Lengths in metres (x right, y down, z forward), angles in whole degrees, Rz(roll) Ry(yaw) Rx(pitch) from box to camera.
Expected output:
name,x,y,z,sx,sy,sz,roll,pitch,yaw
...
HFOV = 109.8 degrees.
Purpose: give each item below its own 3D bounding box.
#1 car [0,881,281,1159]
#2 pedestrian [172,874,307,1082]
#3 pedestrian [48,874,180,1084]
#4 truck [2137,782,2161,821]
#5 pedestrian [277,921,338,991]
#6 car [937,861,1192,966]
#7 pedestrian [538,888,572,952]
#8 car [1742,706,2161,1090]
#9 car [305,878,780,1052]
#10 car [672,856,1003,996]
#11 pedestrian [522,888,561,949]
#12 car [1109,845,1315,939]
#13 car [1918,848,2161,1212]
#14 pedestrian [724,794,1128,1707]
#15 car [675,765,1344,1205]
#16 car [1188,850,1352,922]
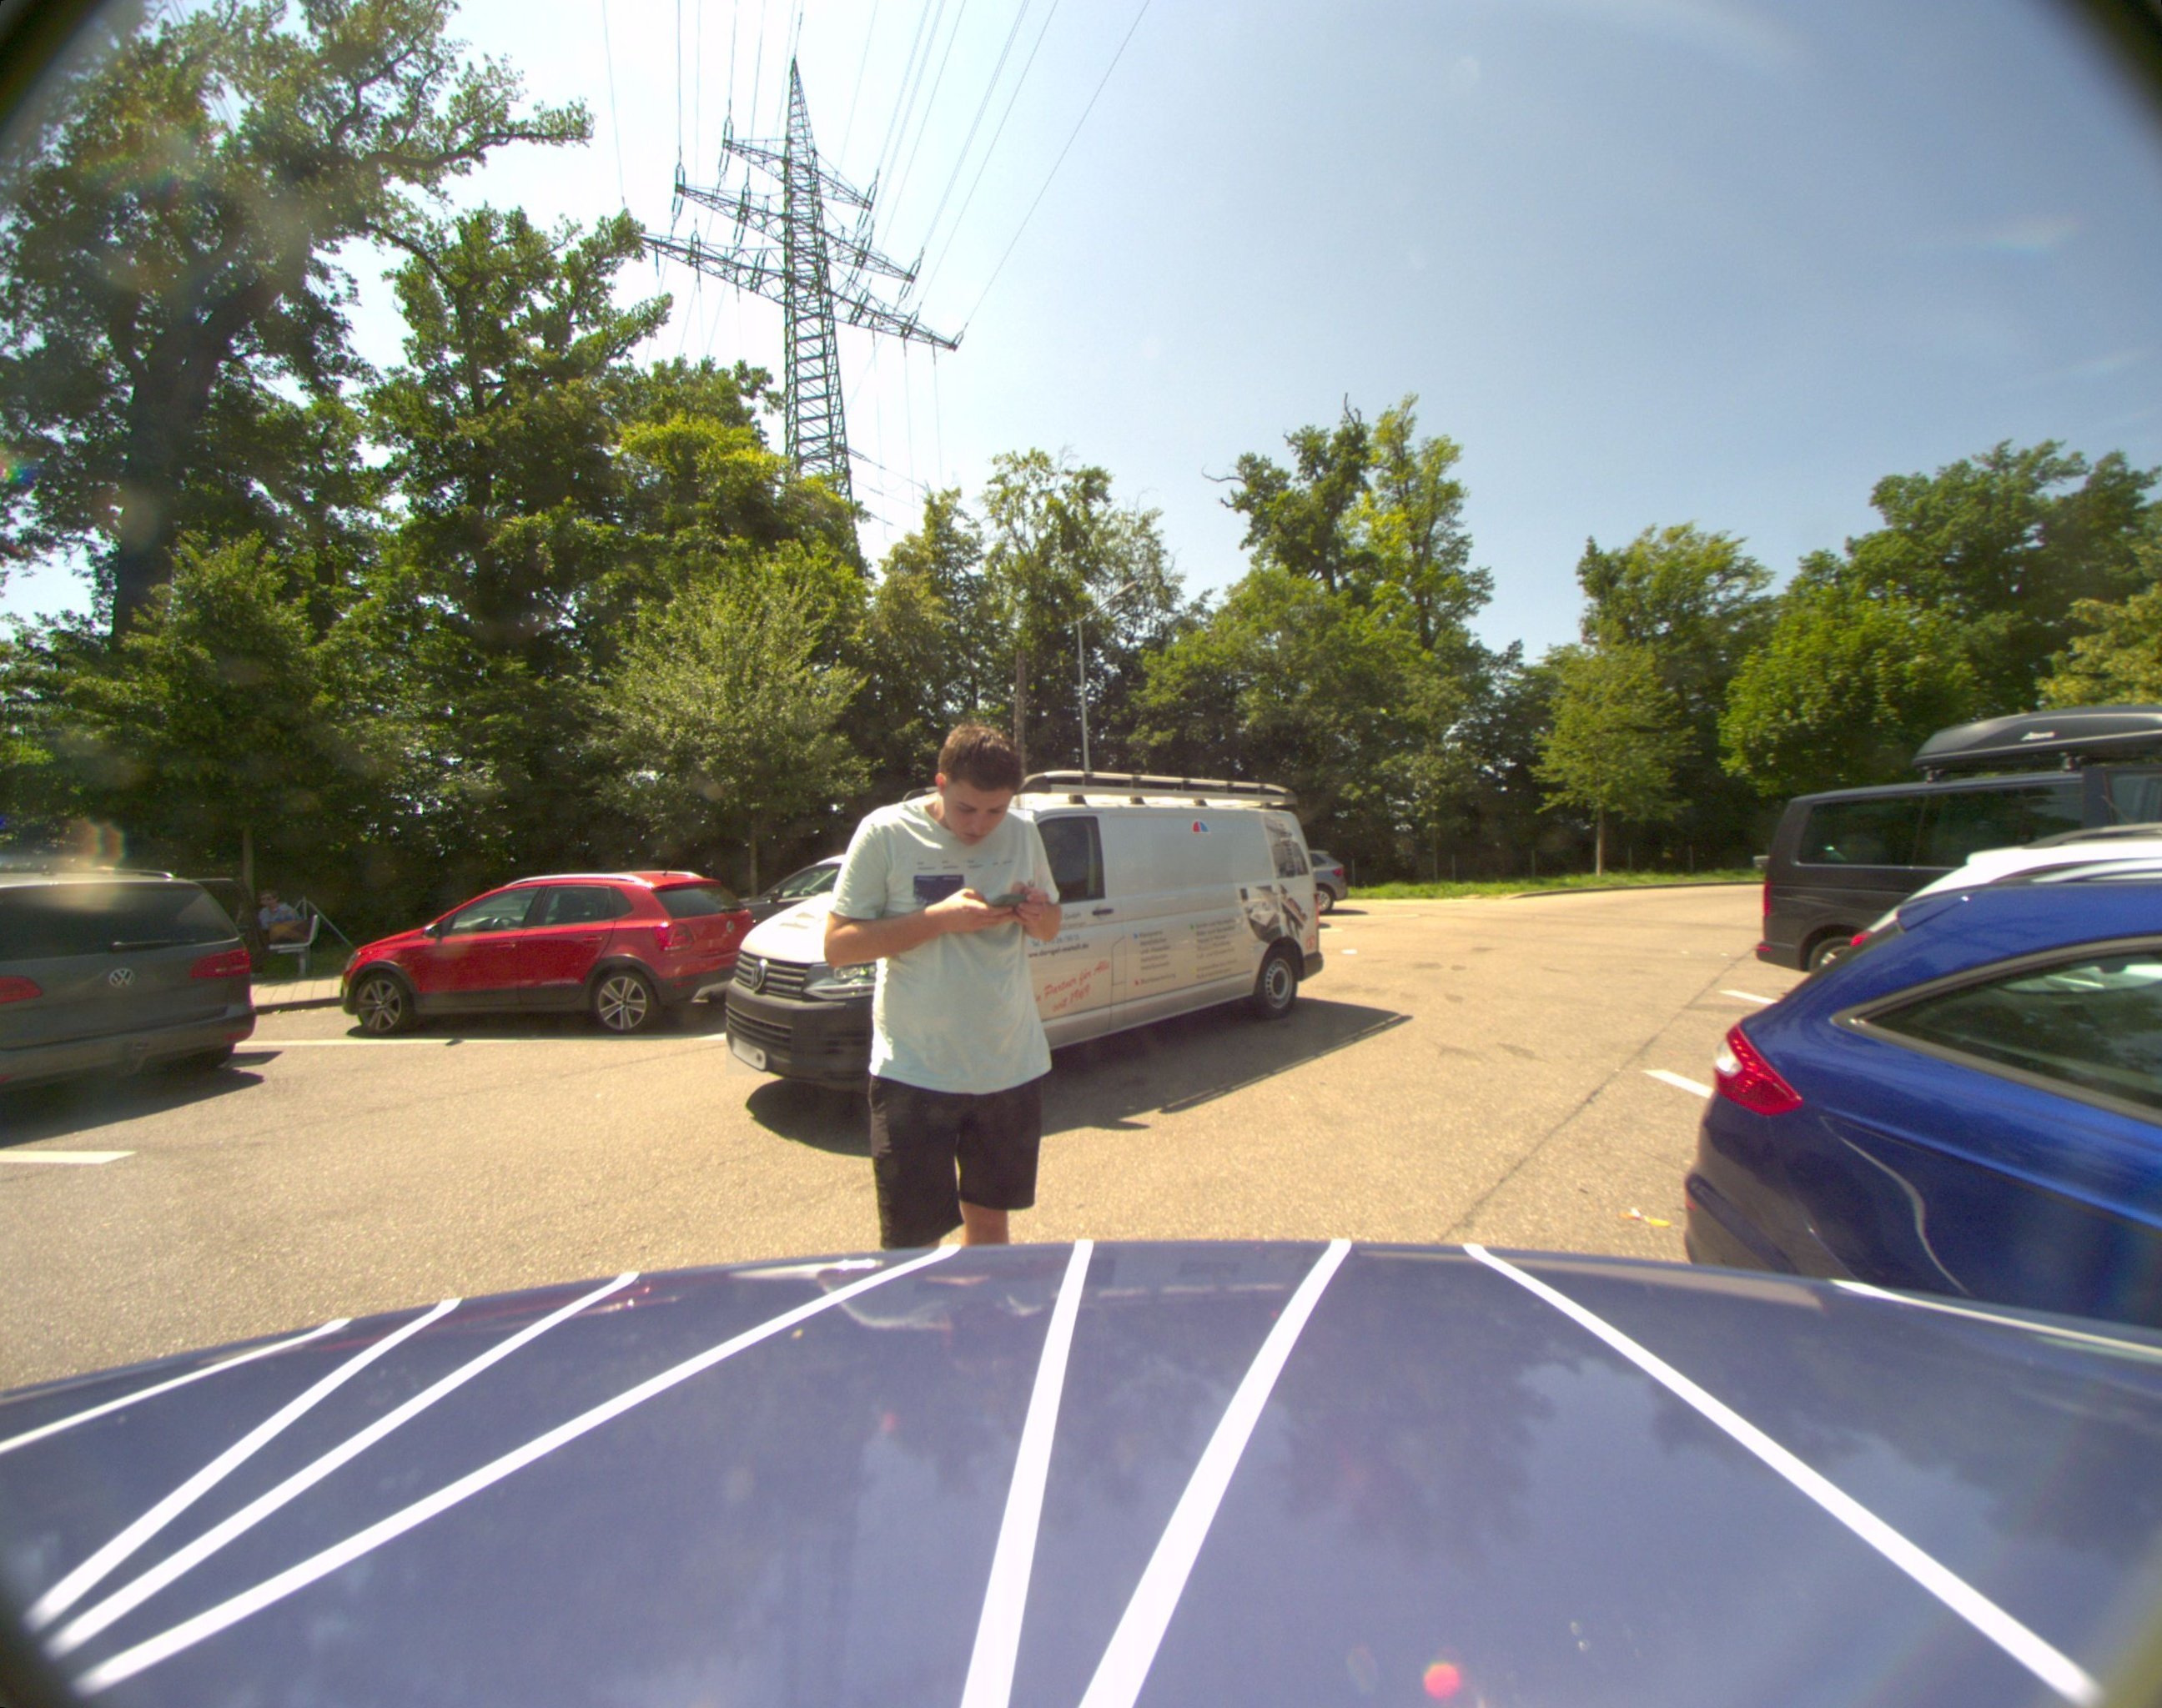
name,x,y,z,sx,sy,sz,roll,pitch,yaw
car,-8.353,1.097,5.445,3.903,1.607,1.705,-2,1,11
pedestrian,-7.380,1.048,6.679,0.481,1.712,0.589,-2,1,22
pedestrian,-8.352,1.047,6.574,0.436,1.712,0.511,-2,1,17
truck,40.286,-1.977,27.076,1.168,1.367,2.882,-2,-1,-19
pedestrian,-10.842,1.418,10.666,0.503,0.874,0.512,-3,1,-39
car,-0.197,0.908,12.268,3.773,1.445,1.848,-2,0,4
pedestrian,-10.167,1.270,14.689,0.366,1.186,0.356,-2,1,21
car,7.314,0.247,5.180,1.788,2.304,4.084,-2,0,-5
car,-5.260,1.053,7.682,3.745,1.458,1.621,-2,0,7
car,-3.102,0.900,10.252,3.866,1.607,1.709,-2,0,0
pedestrian,-10.906,1.292,15.365,0.413,1.186,0.443,-2,1,12
car,2.560,0.729,15.418,3.850,1.678,1.755,-2,0,4
car,4.741,0.656,2.131,1.344,1.352,3.114,-2,0,1
pedestrian,-0.394,0.795,1.876,0.741,1.818,0.613,-2,0,-34
car,-0.014,0.588,6.175,5.445,2.092,1.839,-2,1,-45
car,4.399,0.732,18.101,3.585,1.493,1.707,-2,1,8
